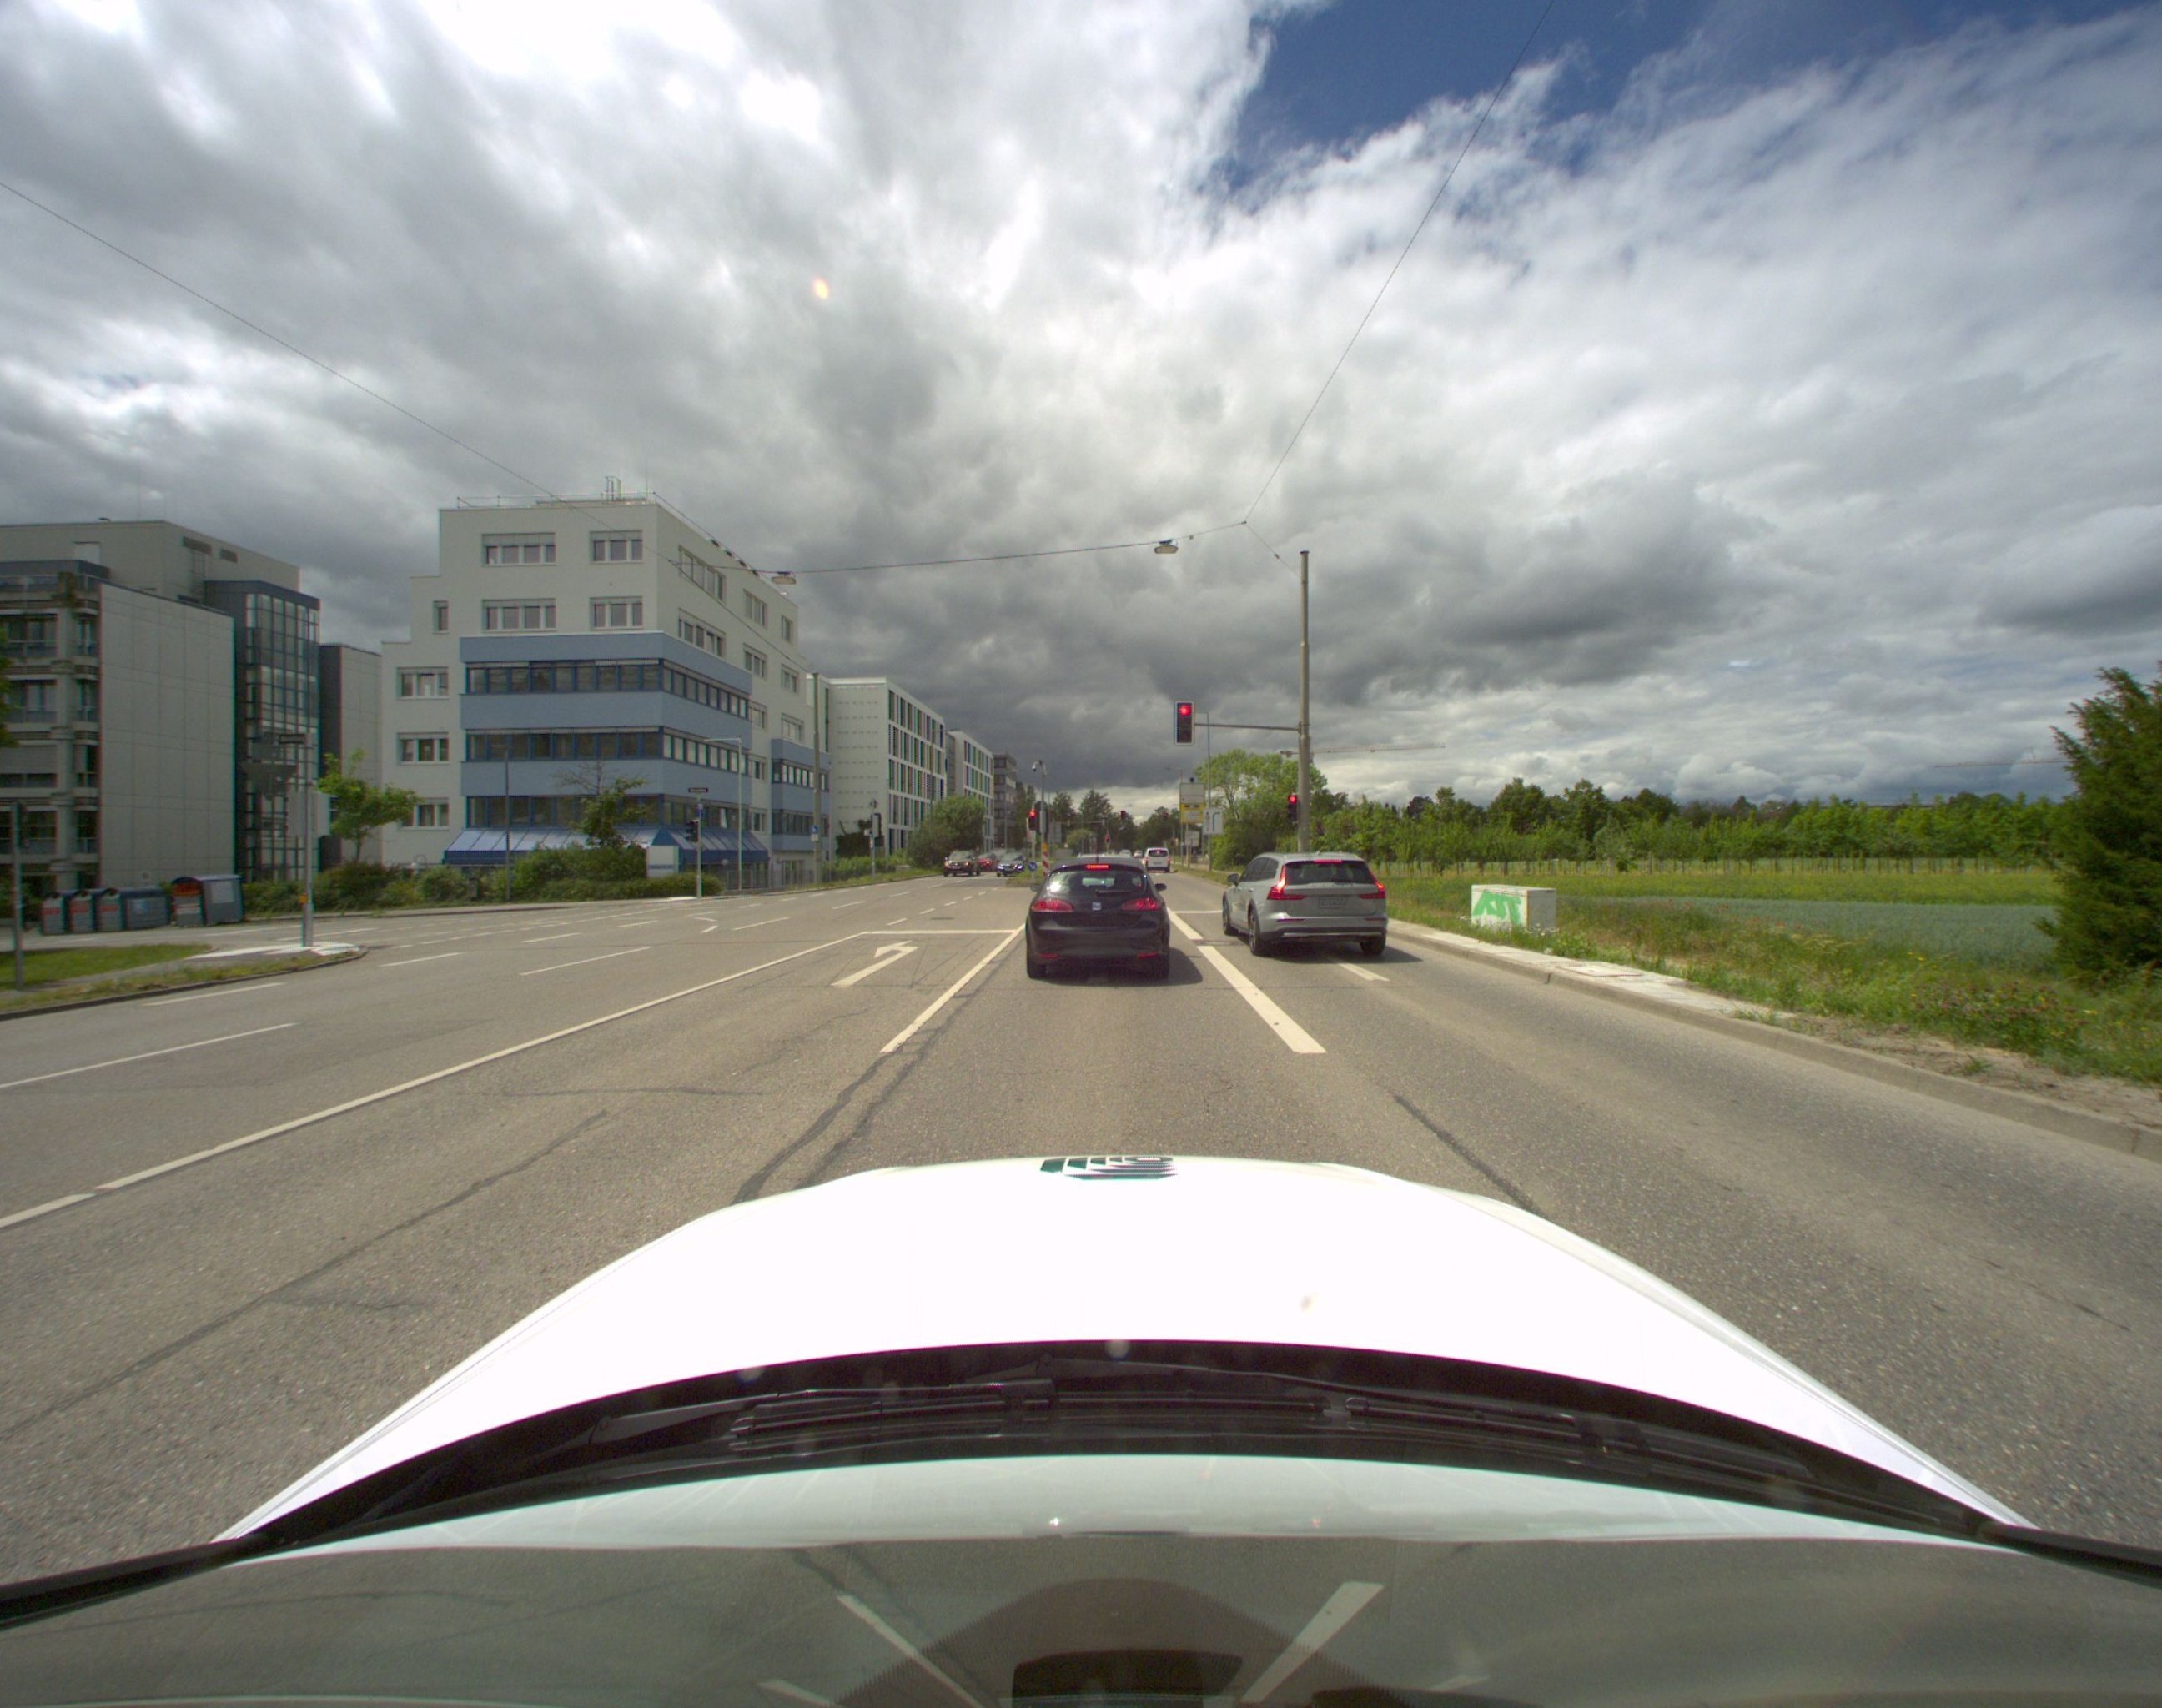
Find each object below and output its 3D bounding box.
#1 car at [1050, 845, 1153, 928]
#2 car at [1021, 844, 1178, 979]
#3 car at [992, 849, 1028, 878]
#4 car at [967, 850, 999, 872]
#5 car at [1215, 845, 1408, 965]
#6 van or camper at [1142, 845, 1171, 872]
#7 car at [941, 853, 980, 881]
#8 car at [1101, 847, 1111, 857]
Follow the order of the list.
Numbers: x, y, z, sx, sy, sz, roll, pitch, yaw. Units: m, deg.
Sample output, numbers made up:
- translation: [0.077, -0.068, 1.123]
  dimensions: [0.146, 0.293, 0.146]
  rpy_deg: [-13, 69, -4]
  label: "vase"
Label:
- translation: [0.432, 0.622, 17.800]
  dimensions: [1.976, 1.590, 4.227]
  rpy_deg: [0, 0, 1]
  label: "car"
- translation: [0.385, 0.647, 11.127]
  dimensions: [1.739, 1.484, 4.006]
  rpy_deg: [1, 0, 5]
  label: "car"
- translation: [-4.353, 0.546, 50.188]
  dimensions: [1.662, 1.524, 4.010]
  rpy_deg: [-3, 1, 2]
  label: "car"
- translation: [-7.341, 0.535, 61.099]
  dimensions: [1.769, 1.612, 4.001]
  rpy_deg: [-1, 0, 2]
  label: "car"
- translation: [3.401, 0.690, 12.934]
  dimensions: [1.950, 1.525, 4.342]
  rpy_deg: [-2, -1, 2]
  label: "car"
- translation: [5.747, 0.347, 62.348]
  dimensions: [1.892, 1.926, 4.001]
  rpy_deg: [-1, 0, 1]
  label: "van or camper"
- translation: [-7.580, 0.799, 51.563]
  dimensions: [1.745, 1.631, 4.001]
  rpy_deg: [-3, 0, 2]
  label: "car"
- translation: [5.238, -0.358, 168.912]
  dimensions: [1.986, 2.014, 4.001]
  rpy_deg: [-1, 0, 1]
  label: "car"
